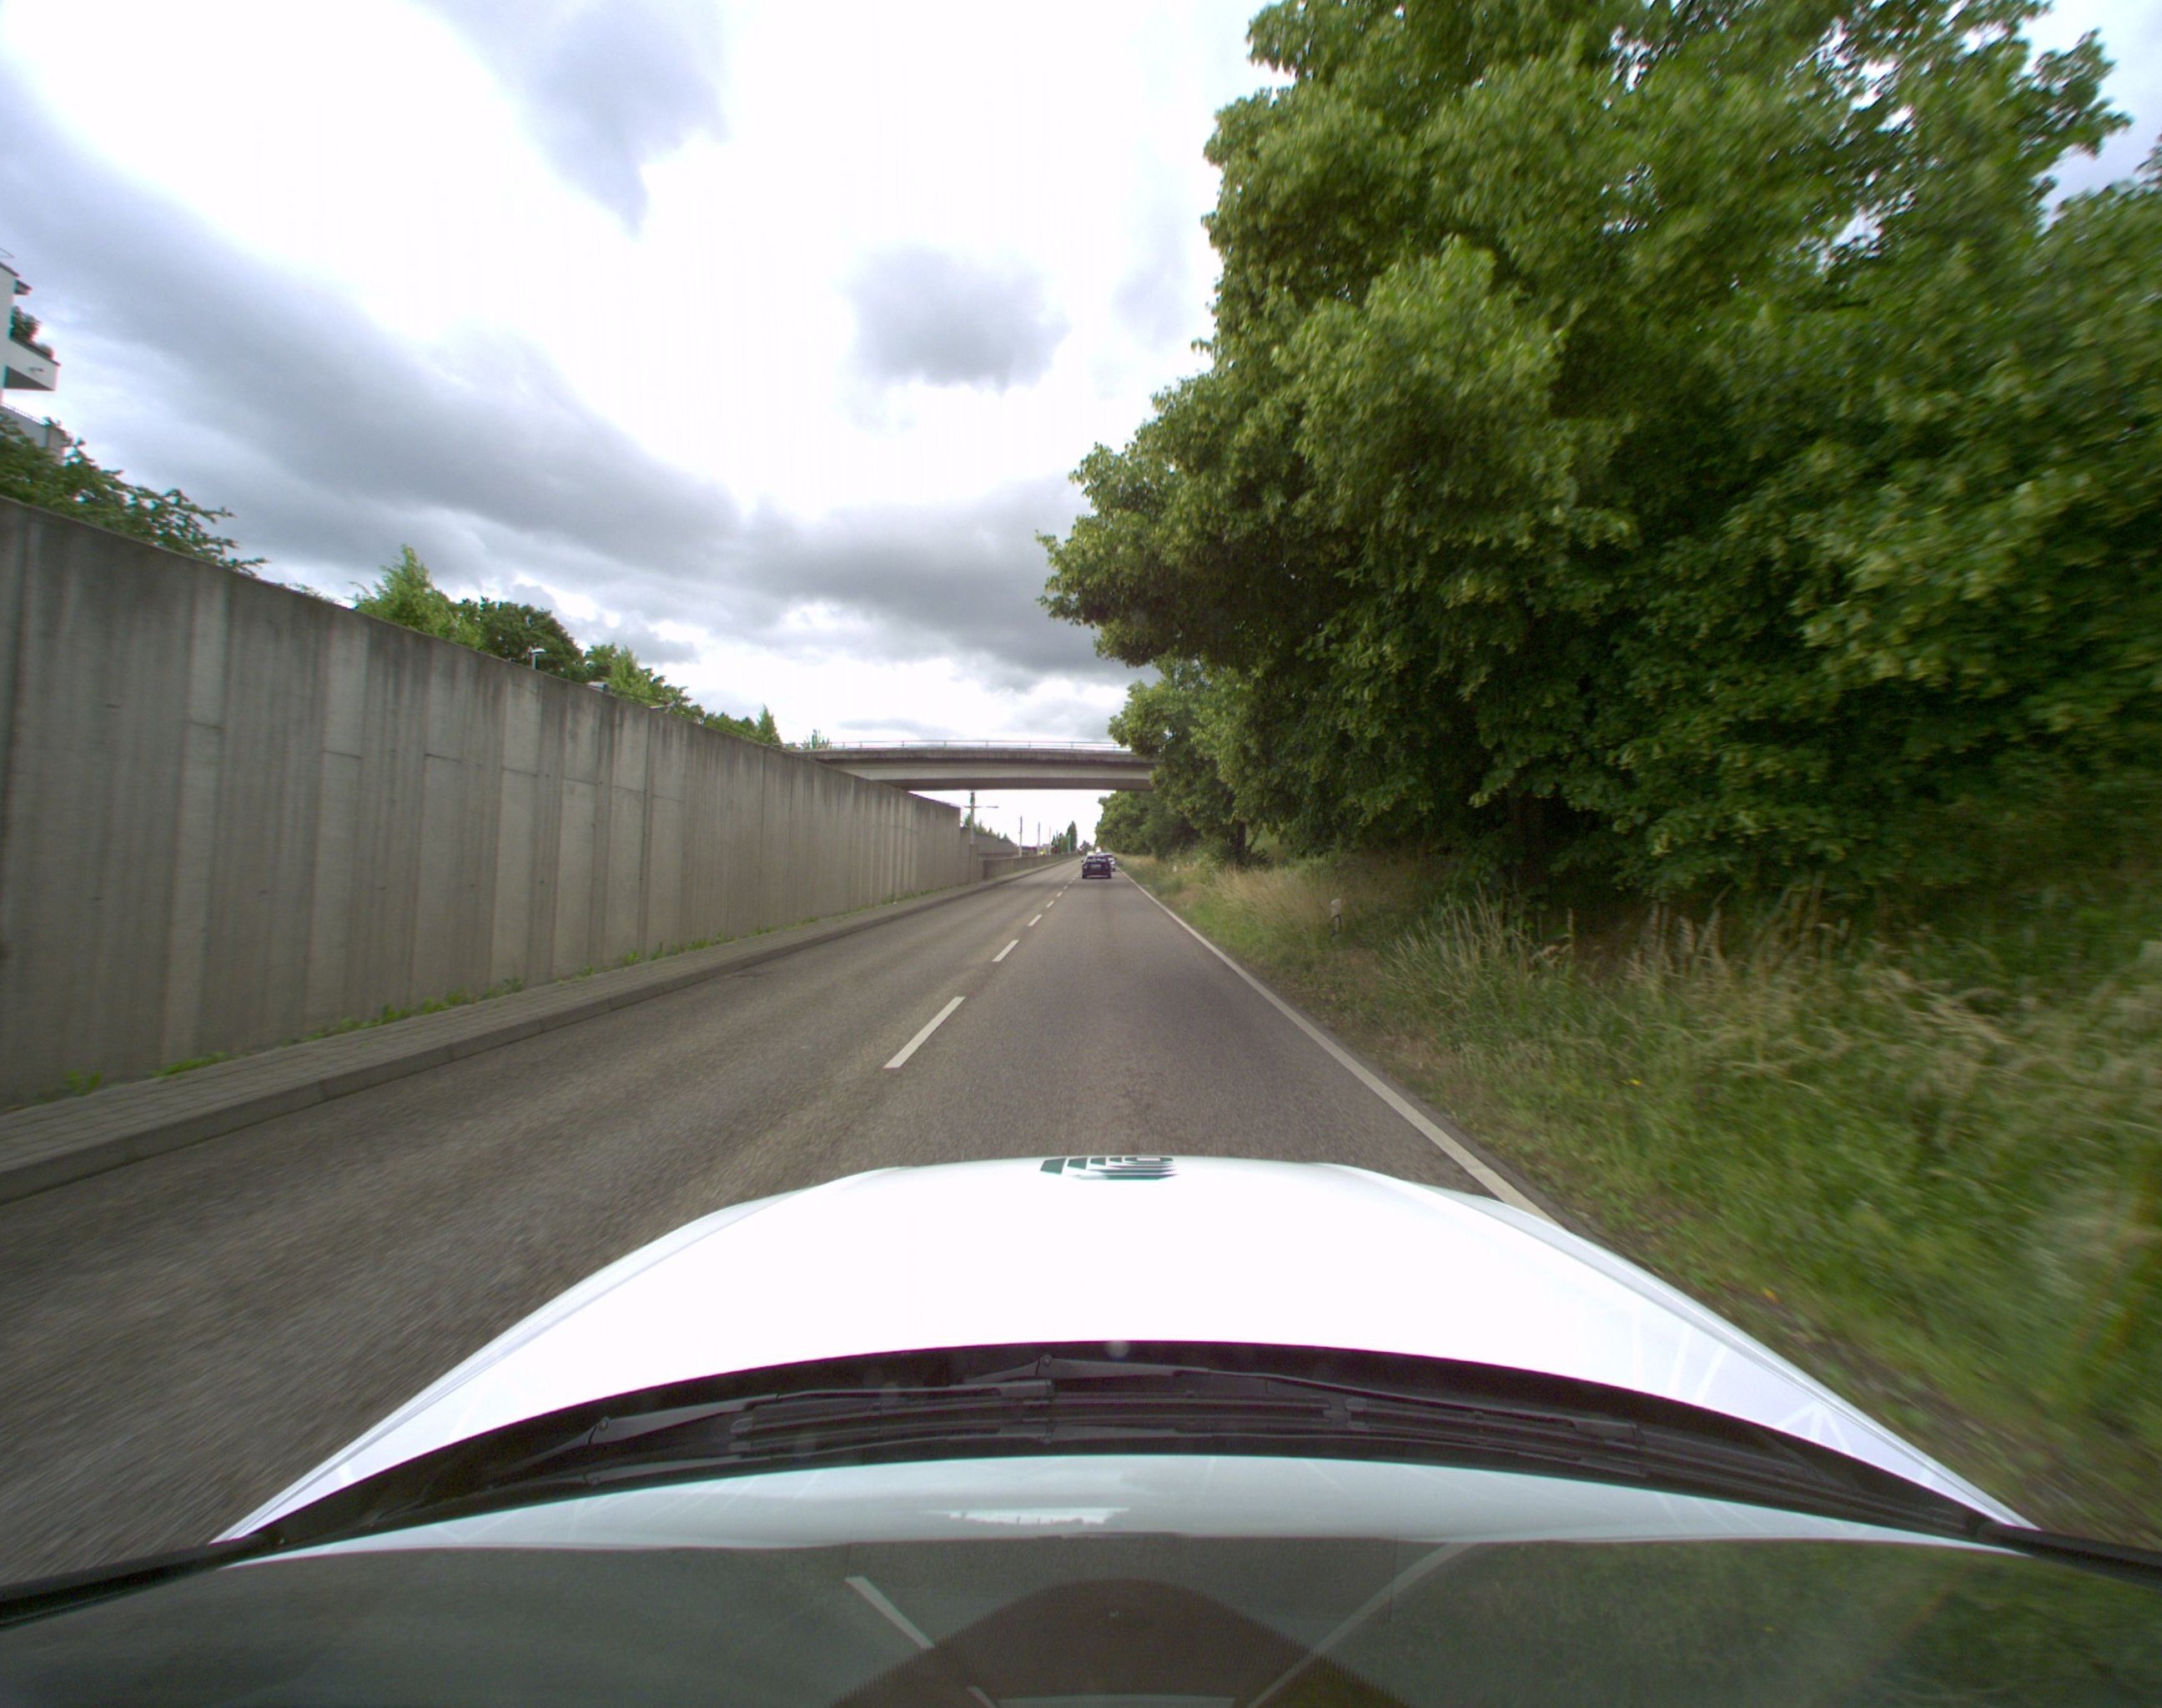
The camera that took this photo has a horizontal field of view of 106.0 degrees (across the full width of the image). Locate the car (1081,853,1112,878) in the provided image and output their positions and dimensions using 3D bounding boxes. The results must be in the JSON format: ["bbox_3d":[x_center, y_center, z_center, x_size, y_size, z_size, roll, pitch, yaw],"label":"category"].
[{"bbox_3d":[0.974,0.672,49.745,1.775,1.468,4.001,-1,0,1],"label":"car"}]

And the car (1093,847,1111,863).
[{"bbox_3d":[2.333,0.095,91.786,1.986,1.740,4.001,0,-1,1],"label":"car"}]

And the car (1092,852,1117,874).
[{"bbox_3d":[1.935,0.706,67.555,1.986,1.753,4.001,-1,0,1],"label":"car"}]
